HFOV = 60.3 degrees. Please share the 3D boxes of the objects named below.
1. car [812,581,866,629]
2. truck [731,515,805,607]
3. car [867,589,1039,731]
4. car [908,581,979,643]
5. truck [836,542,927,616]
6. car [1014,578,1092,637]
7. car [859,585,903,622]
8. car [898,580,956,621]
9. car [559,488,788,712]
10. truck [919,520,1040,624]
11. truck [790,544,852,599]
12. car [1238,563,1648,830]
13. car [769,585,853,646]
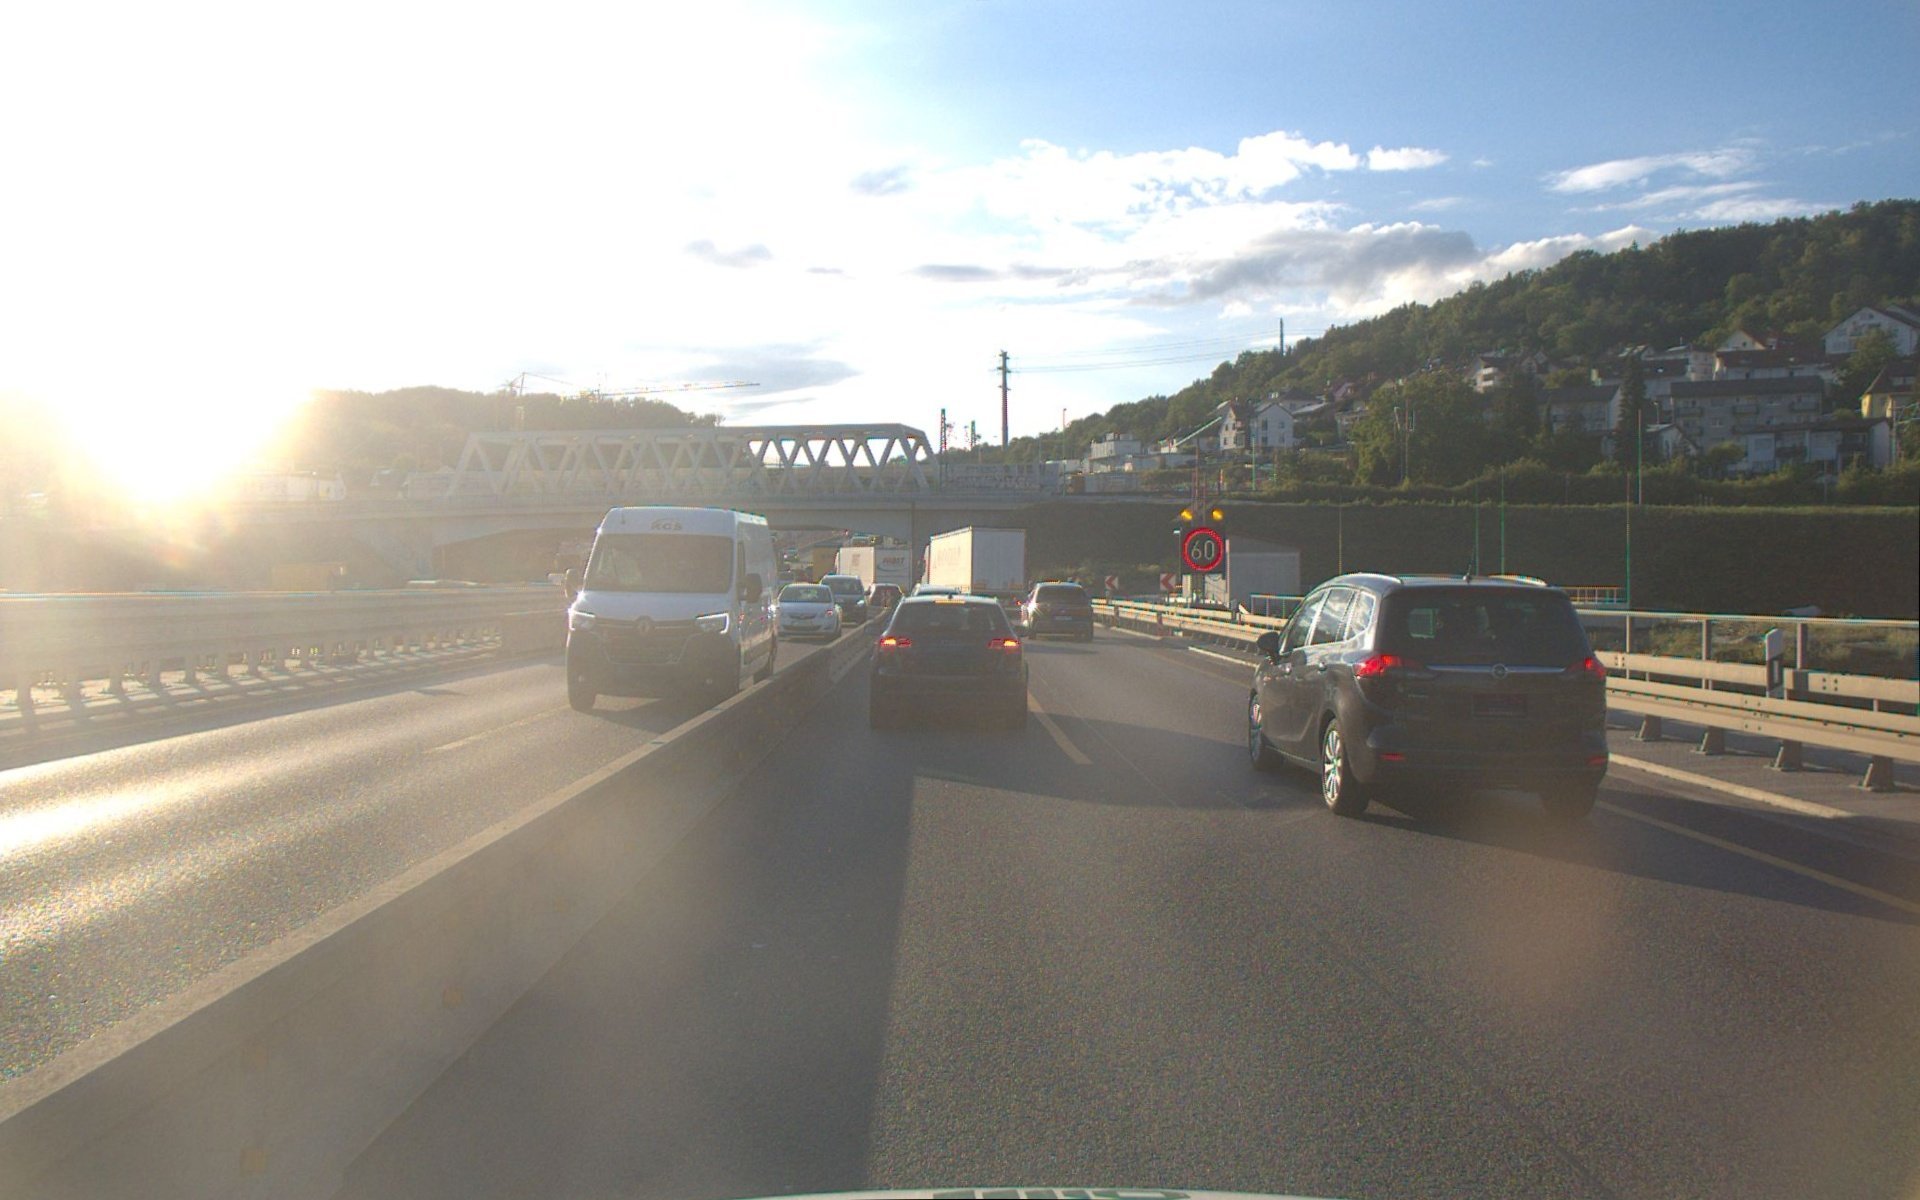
[{"bbox_3d":[-4.144,0.160,57.039,1.756,1.566,4.364,1,0,-3],"label":"car"},{"bbox_3d":[-8.775,-1.742,76.745,2.873,3.958,10.255,1,1,-4],"label":"truck"},{"bbox_3d":[-0.132,0.602,18.884,1.734,1.414,3.999,1,0,-2],"label":"car"},{"bbox_3d":[-0.478,0.292,43.821,1.730,1.512,3.998,2,0,-2],"label":"car"},{"bbox_3d":[-5.493,-1.367,112.115,3.821,4.577,15.224,1,0,-11],"label":"truck"},{"bbox_3d":[2.642,0.191,47.946,1.735,1.579,3.997,2,0,-4],"label":"car"},{"bbox_3d":[-3.992,0.140,82.811,1.668,1.763,3.990,1,1,-10],"label":"car"},{"bbox_3d":[-1.312,-0.002,64.388,1.732,1.512,3.993,2,0,-8],"label":"car"},{"bbox_3d":[-3.586,-0.019,21.943,2.031,2.501,6.265,1,0,-1],"label":"car"},{"bbox_3d":[0.693,-1.297,81.250,3.323,4.577,15.235,1,0,-9],"label":"truck"},{"bbox_3d":[-12.549,-2.631,147.763,3.822,4.576,13.810,1,1,-12],"label":"truck"},{"bbox_3d":[3.430,0.594,12.670,1.777,1.661,4.410,1,0,-1],"label":"car"},{"bbox_3d":[-3.918,0.386,44.132,1.884,1.523,4.367,1,0,-1],"label":"car"}]
